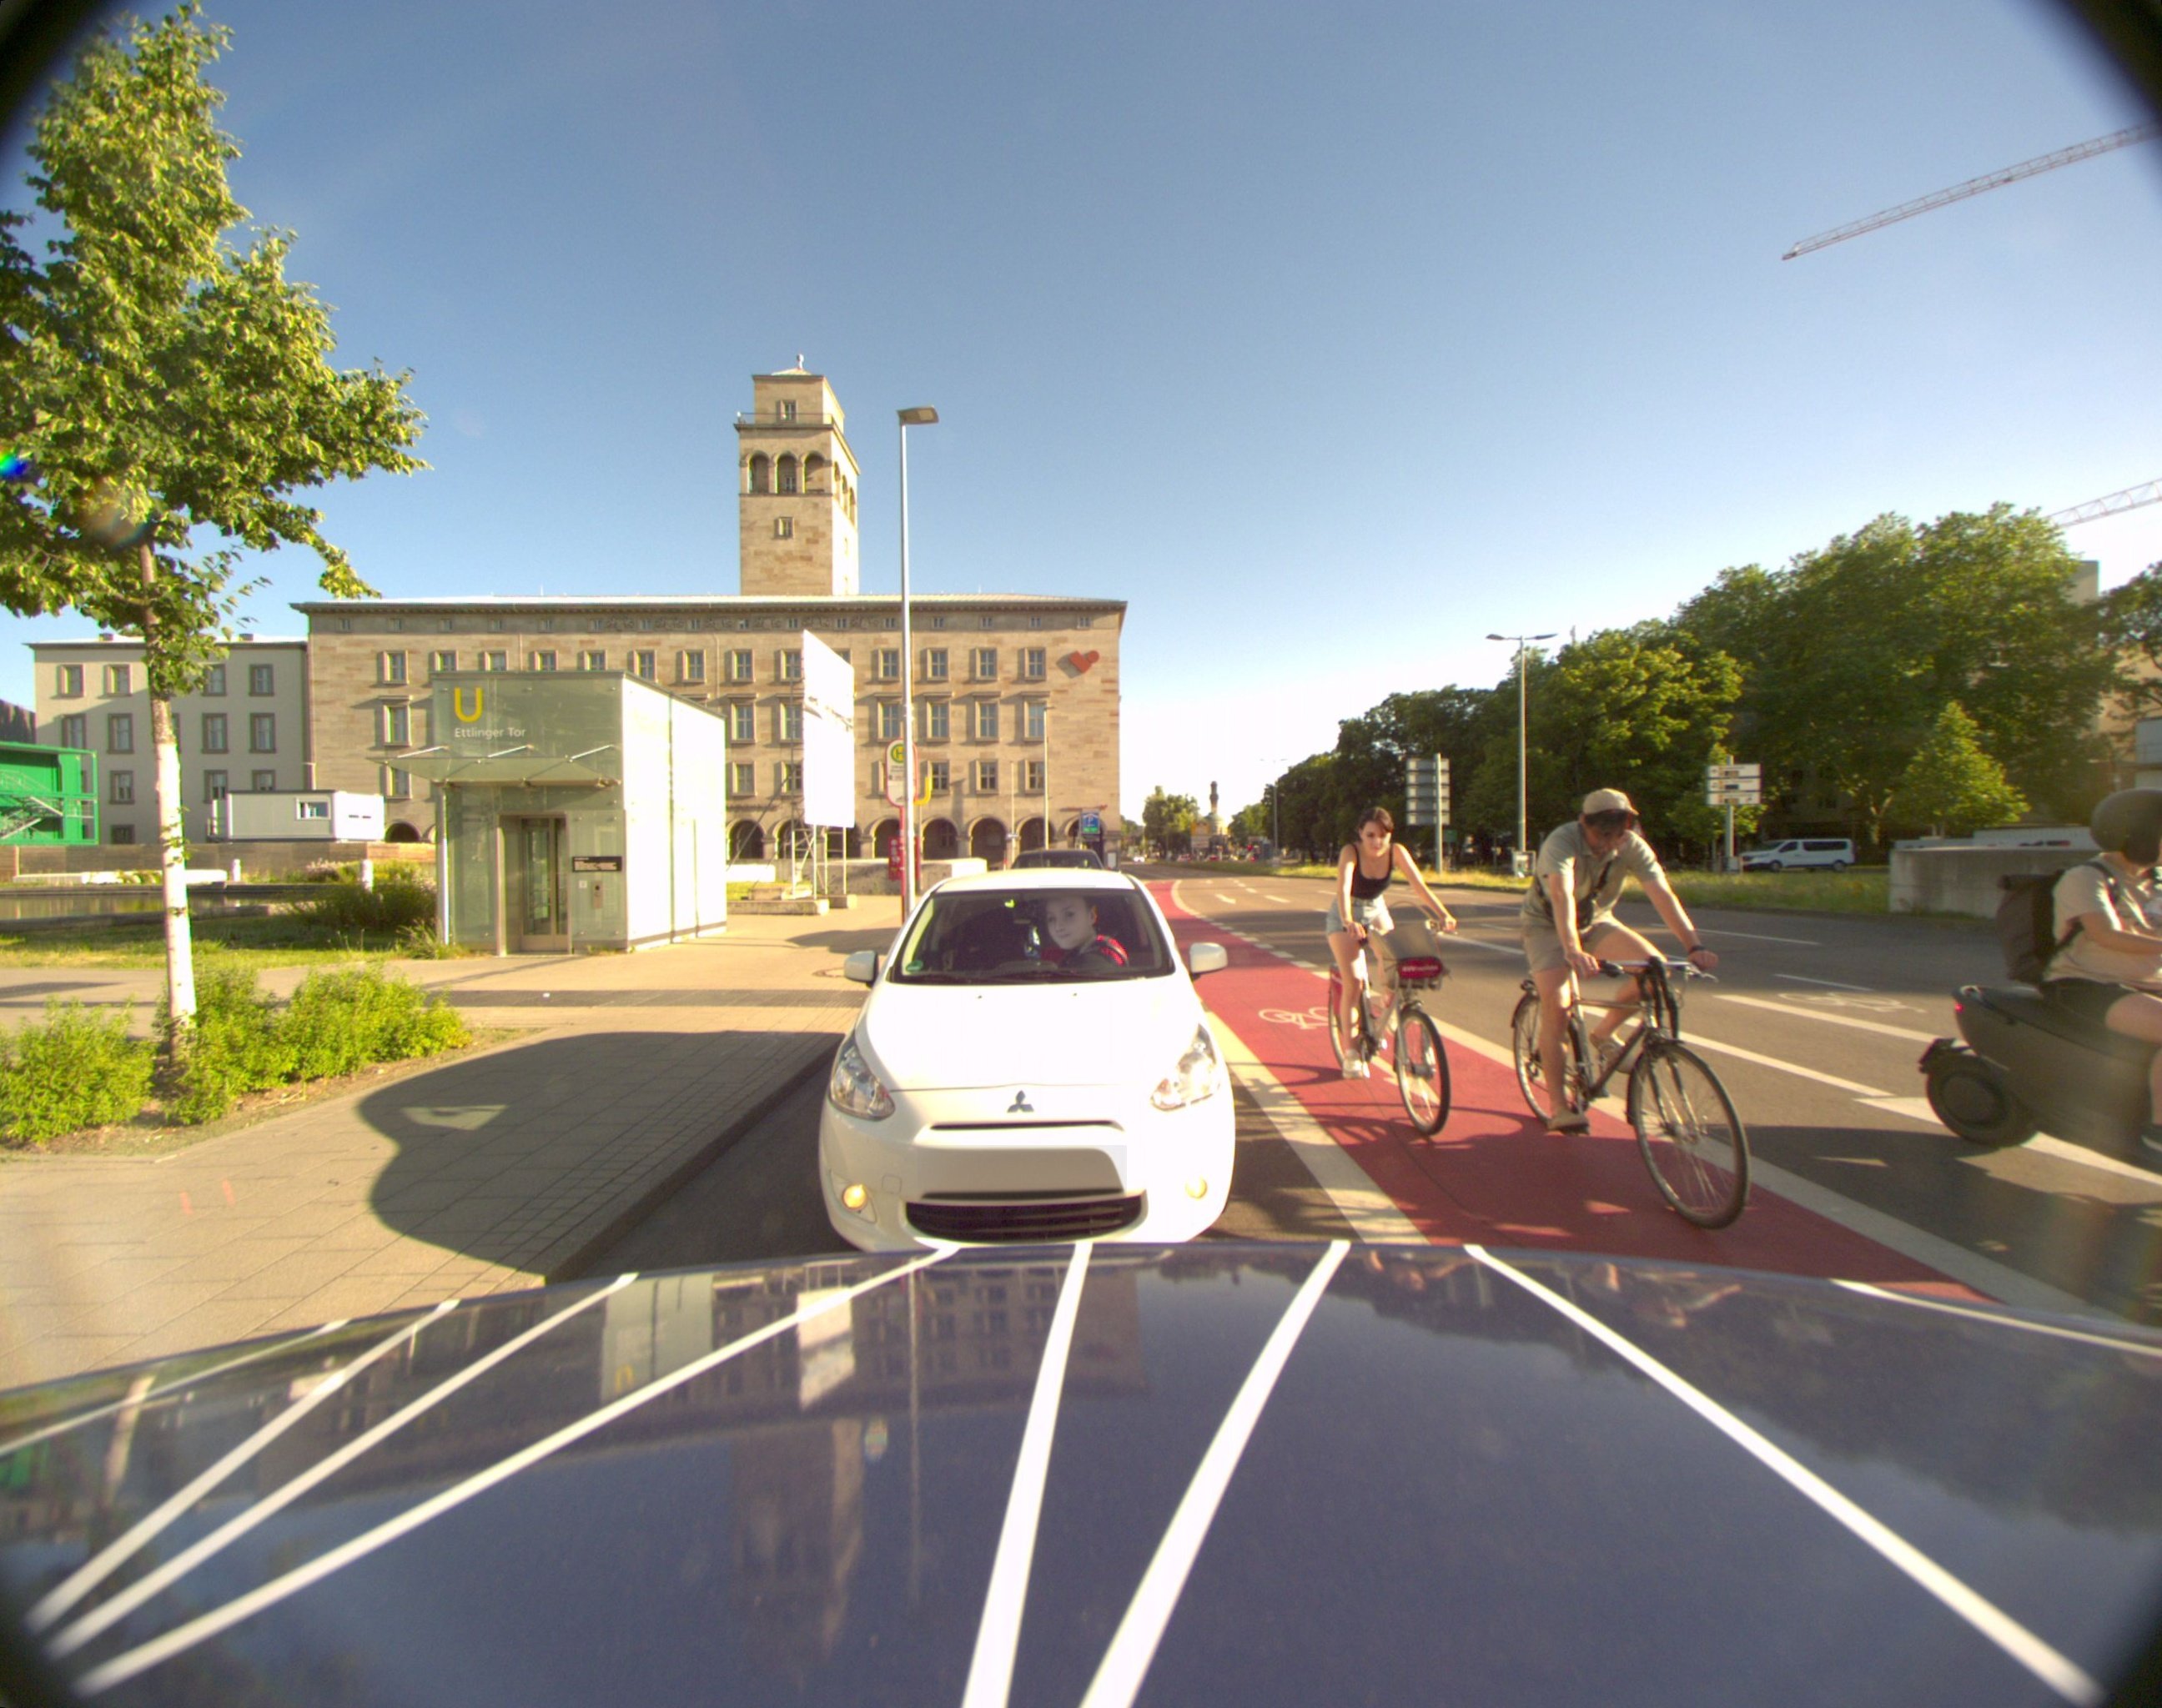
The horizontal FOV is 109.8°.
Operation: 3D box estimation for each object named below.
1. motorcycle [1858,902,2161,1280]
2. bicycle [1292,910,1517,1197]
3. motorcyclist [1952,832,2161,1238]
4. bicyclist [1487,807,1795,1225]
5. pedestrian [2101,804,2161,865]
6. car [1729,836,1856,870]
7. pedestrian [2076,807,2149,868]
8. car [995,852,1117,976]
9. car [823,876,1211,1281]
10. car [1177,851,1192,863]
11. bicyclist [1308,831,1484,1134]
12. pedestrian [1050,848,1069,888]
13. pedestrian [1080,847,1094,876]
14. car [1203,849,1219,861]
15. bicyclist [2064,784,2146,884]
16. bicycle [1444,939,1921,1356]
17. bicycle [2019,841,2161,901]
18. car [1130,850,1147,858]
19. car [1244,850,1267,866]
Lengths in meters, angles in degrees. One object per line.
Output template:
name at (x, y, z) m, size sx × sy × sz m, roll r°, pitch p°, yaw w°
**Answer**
motorcycle at (4.284, 0.897, 2.885) m, size 0.724 × 1.286 × 1.884 m, roll -2°, pitch 0°, yaw 1°
bicycle at (1.787, 1.016, 4.514) m, size 0.617 × 1.211 × 1.832 m, roll -2°, pitch 0°, yaw 4°
motorcyclist at (4.276, 0.653, 2.938) m, size 0.727 × 1.466 × 0.917 m, roll -2°, pitch 0°, yaw 1°
bicyclist at (2.382, 0.631, 3.349) m, size 0.718 × 1.596 × 0.842 m, roll -2°, pitch 1°, yaw 3°
pedestrian at (35.881, -0.663, 25.818) m, size 0.940 × 2.002 × 1.137 m, roll -2°, pitch 1°, yaw -5°
car at (42.132, -0.050, 45.112) m, size 5.516 × 1.924 × 2.065 m, roll -1°, pitch 1°, yaw 2°
pedestrian at (34.900, -0.545, 25.721) m, size 0.940 × 2.002 × 1.137 m, roll -2°, pitch 1°, yaw -5°
car at (-0.373, 0.838, 12.518) m, size 1.642 × 1.653 × 3.849 m, roll -2°, pitch 0°, yaw -1°
car at (-0.233, 0.952, 4.839) m, size 1.496 × 1.477 × 3.604 m, roll -2°, pitch 0°, yaw 1°
car at (16.348, 0.466, 120.409) m, size 1.849 × 1.677 × 3.999 m, roll -2°, pitch 1°, yaw 1°
bicyclist at (1.777, 0.675, 4.412) m, size 0.643 × 1.570 × 0.875 m, roll -2°, pitch 1°, yaw 3°
pedestrian at (-1.406, 0.908, 49.763) m, size 1.122 × 2.524 × 1.055 m, roll -2°, pitch 1°, yaw 1°
pedestrian at (0.496, 0.641, 66.957) m, size 1.122 × 2.524 × 1.055 m, roll -2°, pitch 1°, yaw 1°
car at (20.583, 0.124, 120.441) m, size 1.747 × 1.778 × 3.947 m, roll -2°, pitch 1°, yaw 1°
bicyclist at (32.905, -0.630, 24.442) m, size 0.841 × 3.085 × 1.306 m, roll -2°, pitch 1°, yaw -1°
bicycle at (2.388, 1.056, 3.413) m, size 0.648 × 1.103 × 1.971 m, roll -2°, pitch 0°, yaw 4°
bicycle at (32.957, 0.544, 24.778) m, size 0.841 × 1.800 × 3.082 m, roll -2°, pitch -1°, yaw -1°
car at (12.061, 0.030, 160.117) m, size 1.853 × 1.677 × 3.992 m, roll -3°, pitch 1°, yaw -22°
car at (21.440, 0.483, 93.443) m, size 1.819 × 1.817 × 3.999 m, roll -2°, pitch 1°, yaw 1°
